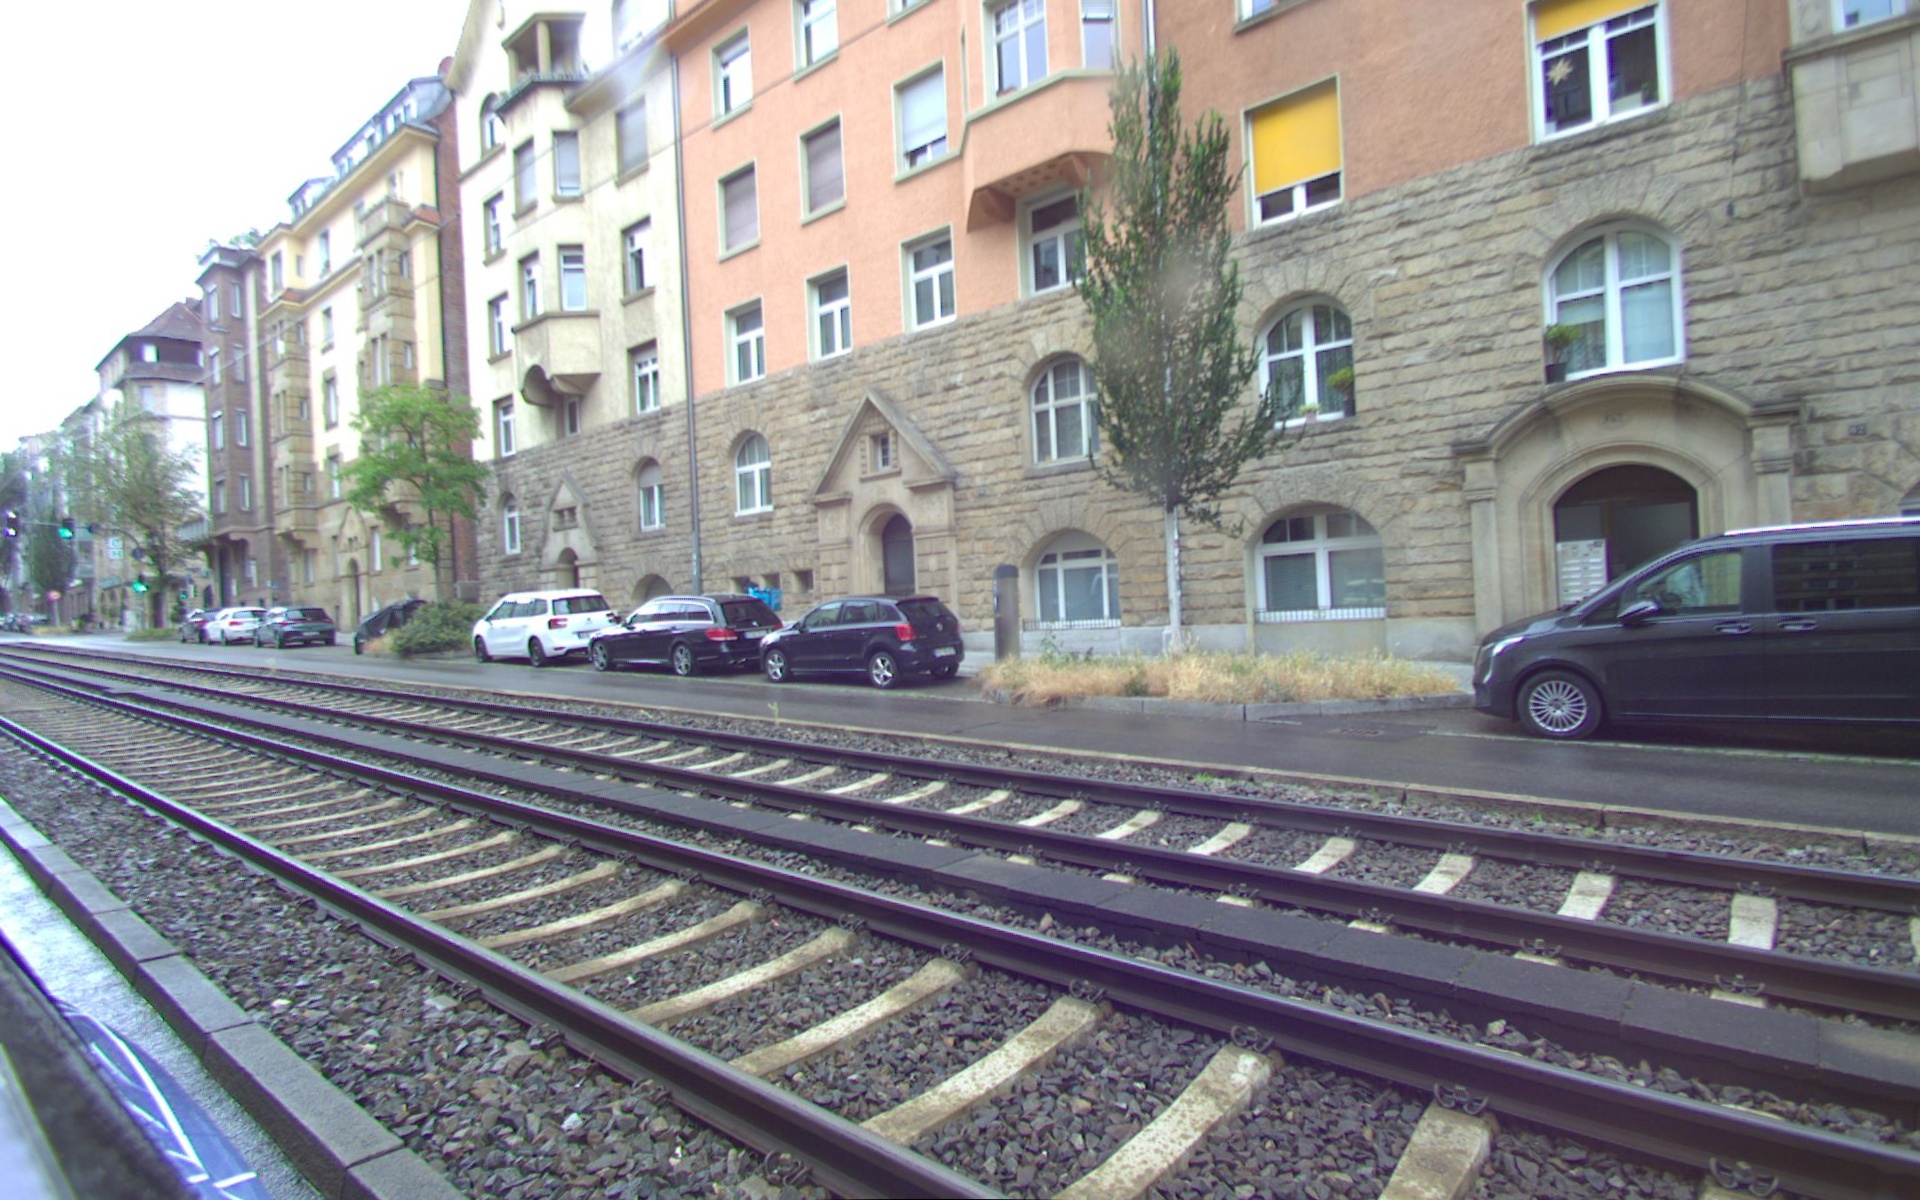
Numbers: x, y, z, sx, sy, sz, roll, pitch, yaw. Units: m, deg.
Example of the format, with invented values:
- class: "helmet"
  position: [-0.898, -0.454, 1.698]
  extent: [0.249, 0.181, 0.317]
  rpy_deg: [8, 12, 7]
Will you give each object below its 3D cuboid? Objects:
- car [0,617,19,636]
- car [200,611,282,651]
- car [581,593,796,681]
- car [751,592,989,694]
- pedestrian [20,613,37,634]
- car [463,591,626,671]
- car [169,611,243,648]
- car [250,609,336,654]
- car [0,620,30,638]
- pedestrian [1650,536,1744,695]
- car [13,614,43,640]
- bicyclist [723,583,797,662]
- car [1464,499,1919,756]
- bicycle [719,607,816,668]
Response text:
- class: "car"
  position: [-80.904, 2.263, 85.424]
  extent: [3.843, 1.527, 1.748]
  rpy_deg: [-1, 0, 41]
- class: "car"
  position: [-28.277, 1.196, 39.769]
  extent: [4.030, 1.452, 1.748]
  rpy_deg: [-1, 1, 42]
- class: "car"
  position: [-5.431, 0.686, 19.941]
  extent: [4.599, 1.506, 1.824]
  rpy_deg: [-1, 0, 41]
- class: "car"
  position: [-1.550, 0.658, 16.919]
  extent: [3.638, 1.508, 1.912]
  rpy_deg: [-1, 0, 38]
- class: "pedestrian"
  position: [-88.286, 2.200, 95.923]
  extent: [1.163, 1.972, 1.042]
  rpy_deg: [-1, 0, 43]
- class: "car"
  position: [-9.738, 0.690, 23.615]
  extent: [4.144, 1.668, 1.843]
  rpy_deg: [-1, 0, 41]
- class: "car"
  position: [-32.135, 1.249, 43.092]
  extent: [3.843, 1.452, 1.748]
  rpy_deg: [-1, 0, 41]
- class: "car"
  position: [-23.675, 1.081, 35.865]
  extent: [3.845, 1.452, 1.656]
  rpy_deg: [-1, 1, 43]
- class: "car"
  position: [-74.277, 2.257, 79.350]
  extent: [3.843, 1.321, 1.563]
  rpy_deg: [-1, 0, 41]
- class: "pedestrian"
  position: [8.045, 0.162, 11.047]
  extent: [0.765, 1.654, 0.692]
  rpy_deg: [-1, 0, 41]
- class: "car"
  position: [-69.029, 1.969, 74.984]
  extent: [1.561, 1.691, 3.794]
  rpy_deg: [-2, 2, -43]
- class: "bicyclist"
  position: [-4.228, 0.463, 21.360]
  extent: [1.251, 1.609, 0.876]
  rpy_deg: [-2, 1, 36]
- class: "car"
  position: [7.352, 0.206, 8.984]
  extent: [4.823, 1.956, 1.973]
  rpy_deg: [-1, 0, 41]
- class: "bicycle"
  position: [-4.040, 0.772, 21.185]
  extent: [2.034, 1.195, 0.816]
  rpy_deg: [-1, 1, 38]
